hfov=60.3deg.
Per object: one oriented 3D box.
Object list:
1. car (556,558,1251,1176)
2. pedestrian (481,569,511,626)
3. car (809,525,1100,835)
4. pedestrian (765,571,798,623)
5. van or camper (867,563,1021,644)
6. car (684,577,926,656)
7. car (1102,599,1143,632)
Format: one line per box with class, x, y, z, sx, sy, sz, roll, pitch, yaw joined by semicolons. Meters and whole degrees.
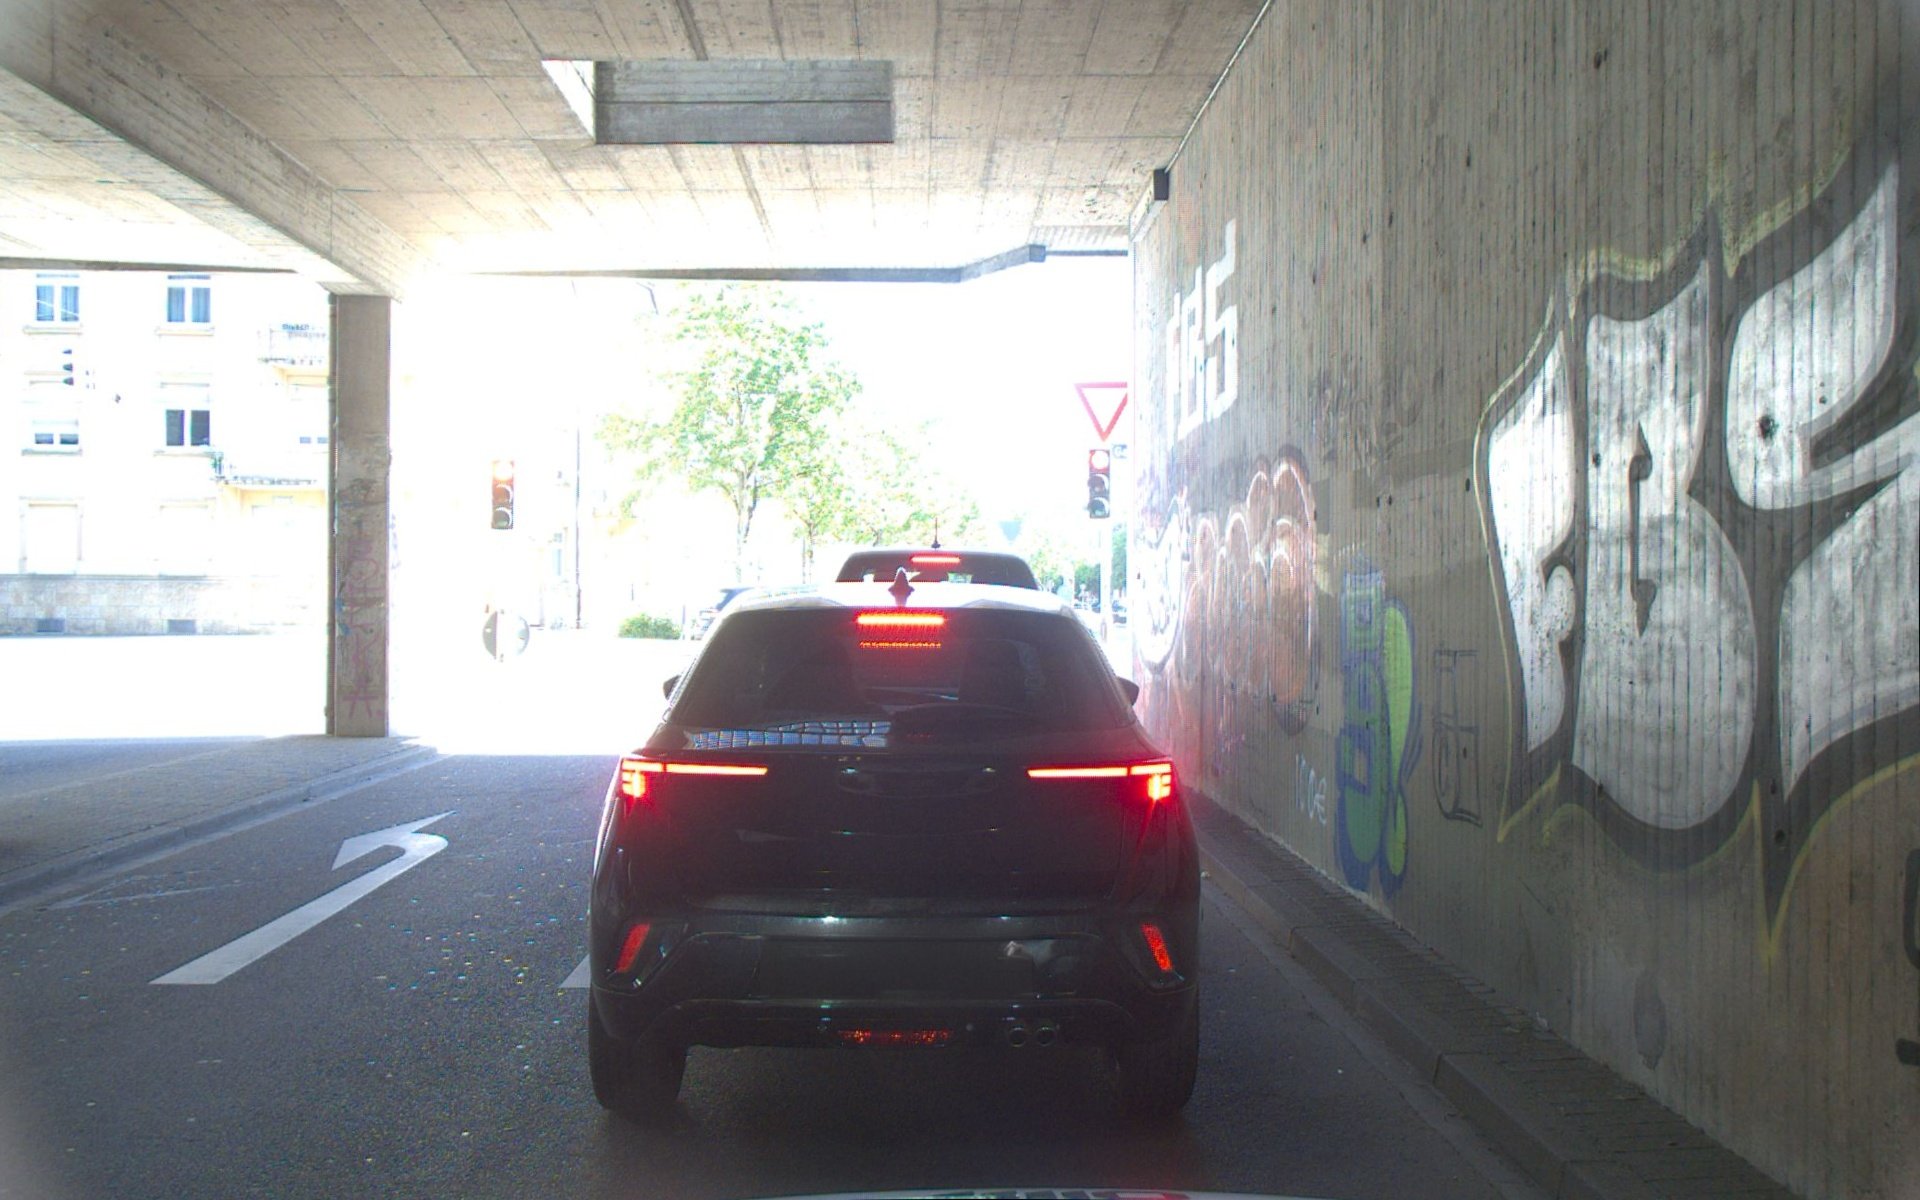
car;-0.153;0.662;6.151;1.718;1.525;4.000;1;0;-1
pedestrian;-14.333;-0.078;51.123;0.609;1.734;0.724;1;-1;9
car;-0.055;0.480;12.058;1.749;1.865;3.960;1;0;-1
pedestrian;-5.543;-0.089;51.302;0.720;1.612;0.891;1;-1;15
van or camper;-0.387;0.090;43.296;3.795;2.049;2.002;0;0;7
car;-3.210;0.313;34.469;4.665;1.561;1.982;0;0;-28
car;8.592;0.797;87.755;1.952;1.670;4.595;0;0;3
